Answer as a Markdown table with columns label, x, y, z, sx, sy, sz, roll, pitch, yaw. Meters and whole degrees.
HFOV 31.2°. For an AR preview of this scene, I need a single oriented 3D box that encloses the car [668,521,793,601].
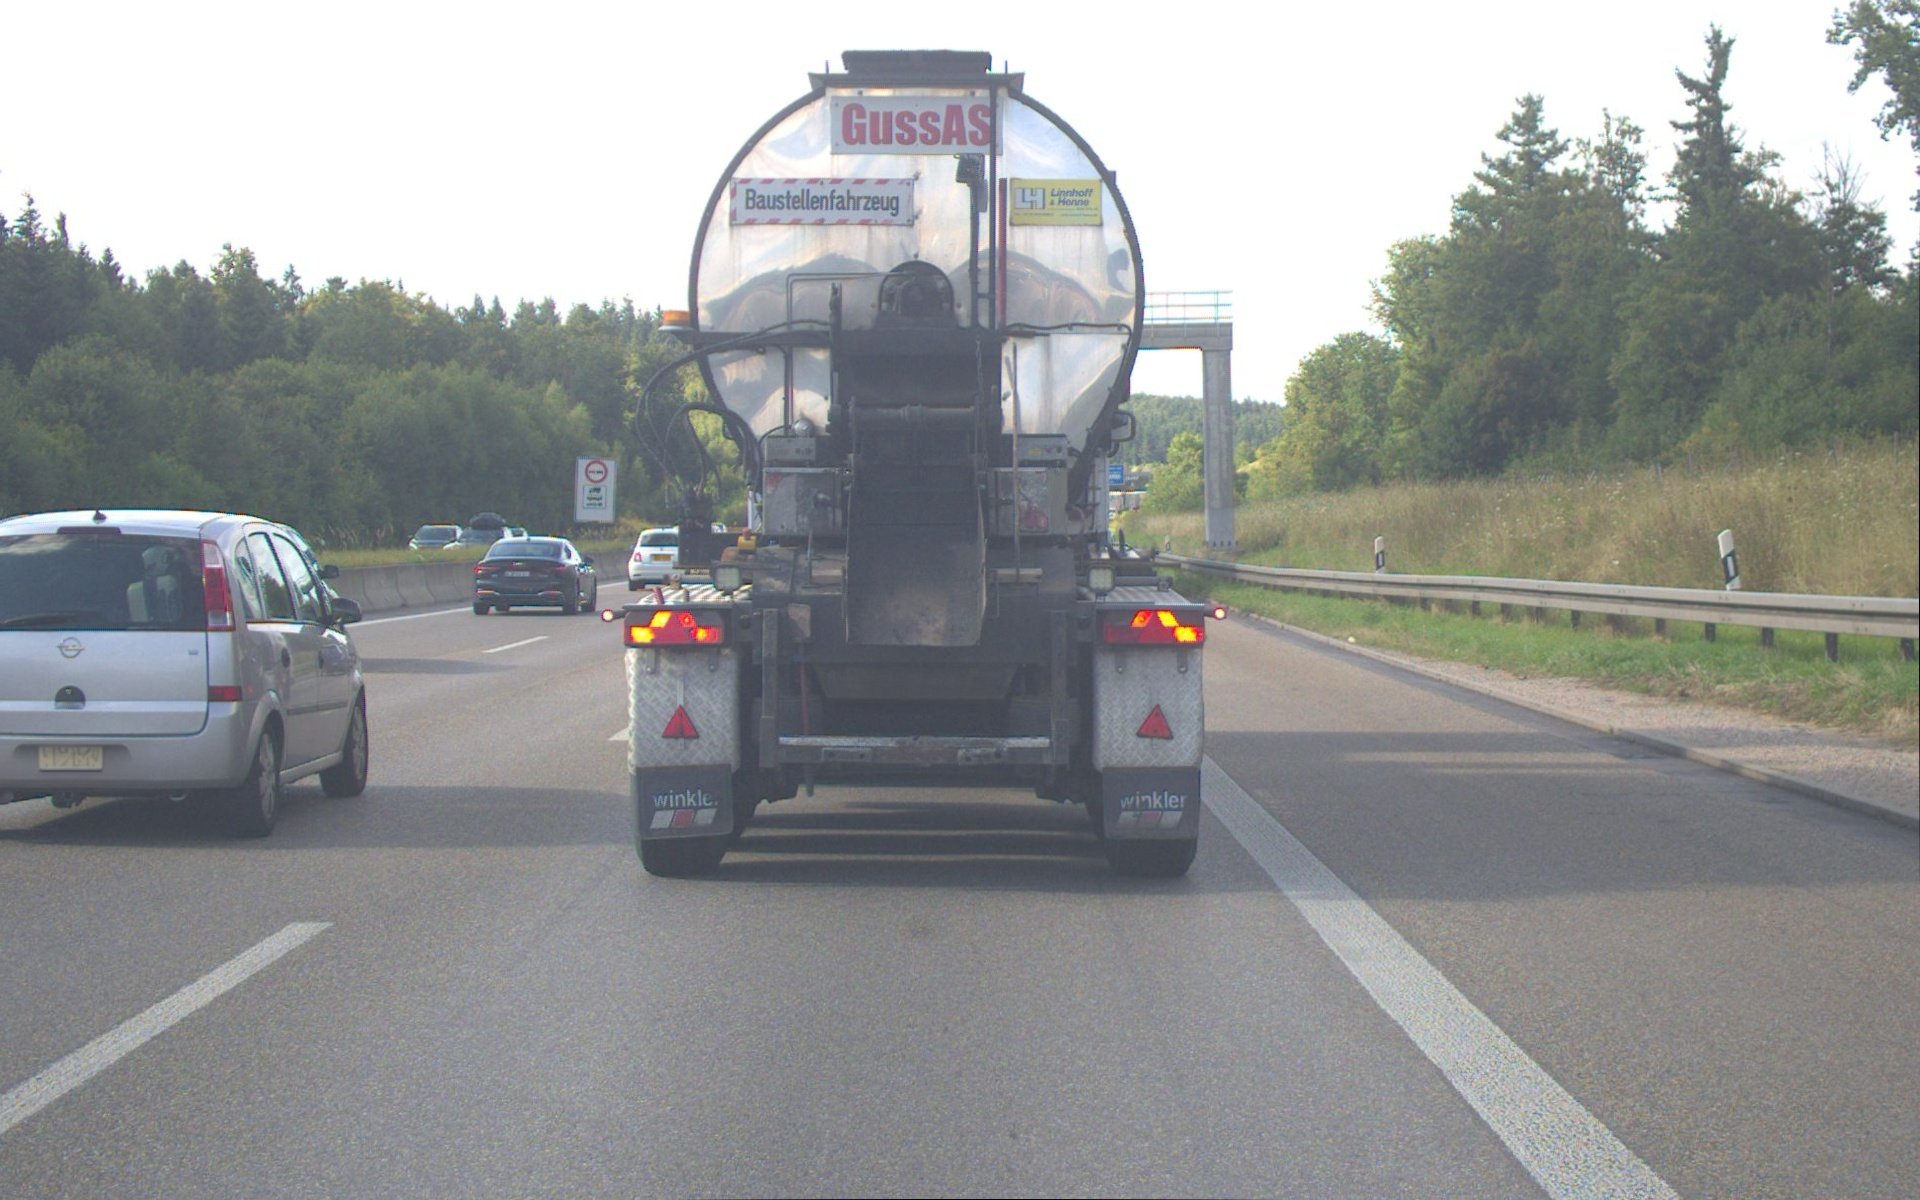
| label | x | y | z | sx | sy | sz | roll | pitch | yaw |
| --- | --- | --- | --- | --- | --- | --- | --- | --- | --- |
| car | -4.456 | -0.798 | 67.509 | 2.060 | 1.494 | 5.736 | 0 | 1 | 0 |

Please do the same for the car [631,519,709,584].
| label | x | y | z | sx | sy | sz | roll | pitch | yaw |
| --- | --- | --- | --- | --- | --- | --- | --- | --- | --- |
| car | -7.105 | -1.204 | 84.438 | 1.618 | 1.539 | 3.520 | 1 | 1 | 0 |

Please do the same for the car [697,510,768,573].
| label | x | y | z | sx | sy | sz | roll | pitch | yaw |
| --- | --- | --- | --- | --- | --- | --- | --- | --- | --- |
| car | -6.552 | -1.707 | 99.240 | 1.845 | 1.776 | 4.000 | 0 | 1 | -1 |

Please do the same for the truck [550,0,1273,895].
| label | x | y | z | sx | sy | sz | roll | pitch | yaw |
| --- | --- | --- | --- | --- | --- | --- | --- | --- | --- |
| truck | -0.161 | -1.010 | 19.518 | 2.912 | 4.143 | 11.270 | 0 | 1 | 0 |

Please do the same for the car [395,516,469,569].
| label | x | y | z | sx | sy | sz | roll | pitch | yaw |
| --- | --- | --- | --- | --- | --- | --- | --- | --- | --- |
| car | -18.777 | -2.061 | 122.478 | 1.993 | 1.874 | 4.438 | 0 | 1 | -1 |

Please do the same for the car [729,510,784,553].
| label | x | y | z | sx | sy | sz | roll | pitch | yaw |
| --- | --- | --- | --- | --- | --- | --- | --- | --- | --- |
| car | -7.456 | -2.517 | 126.099 | 1.806 | 1.580 | 4.207 | 0 | 1 | 0 |

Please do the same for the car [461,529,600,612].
| label | x | y | z | sx | sy | sz | roll | pitch | yaw |
| --- | --- | --- | --- | --- | --- | --- | --- | --- | --- |
| car | -7.657 | -0.551 | 61.683 | 1.856 | 1.426 | 4.841 | 0 | 1 | 0 |

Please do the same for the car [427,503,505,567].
| label | x | y | z | sx | sy | sz | roll | pitch | yaw |
| --- | --- | --- | --- | --- | --- | --- | --- | --- | --- |
| car | -15.880 | -2.095 | 110.680 | 1.993 | 2.007 | 4.072 | 0 | 1 | -1 |

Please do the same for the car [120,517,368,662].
| label | x | y | z | sx | sy | sz | roll | pitch | yaw |
| --- | --- | --- | --- | --- | --- | --- | --- | --- | --- |
| car | -7.856 | -0.154 | 38.102 | 1.835 | 1.512 | 4.333 | 0 | 1 | 0 |

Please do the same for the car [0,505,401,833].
| label | x | y | z | sx | sy | sz | roll | pitch | yaw |
| --- | --- | --- | --- | --- | --- | --- | --- | --- | --- |
| car | -4.210 | 0.272 | 18.036 | 1.835 | 1.512 | 4.333 | 0 | 1 | 0 |
